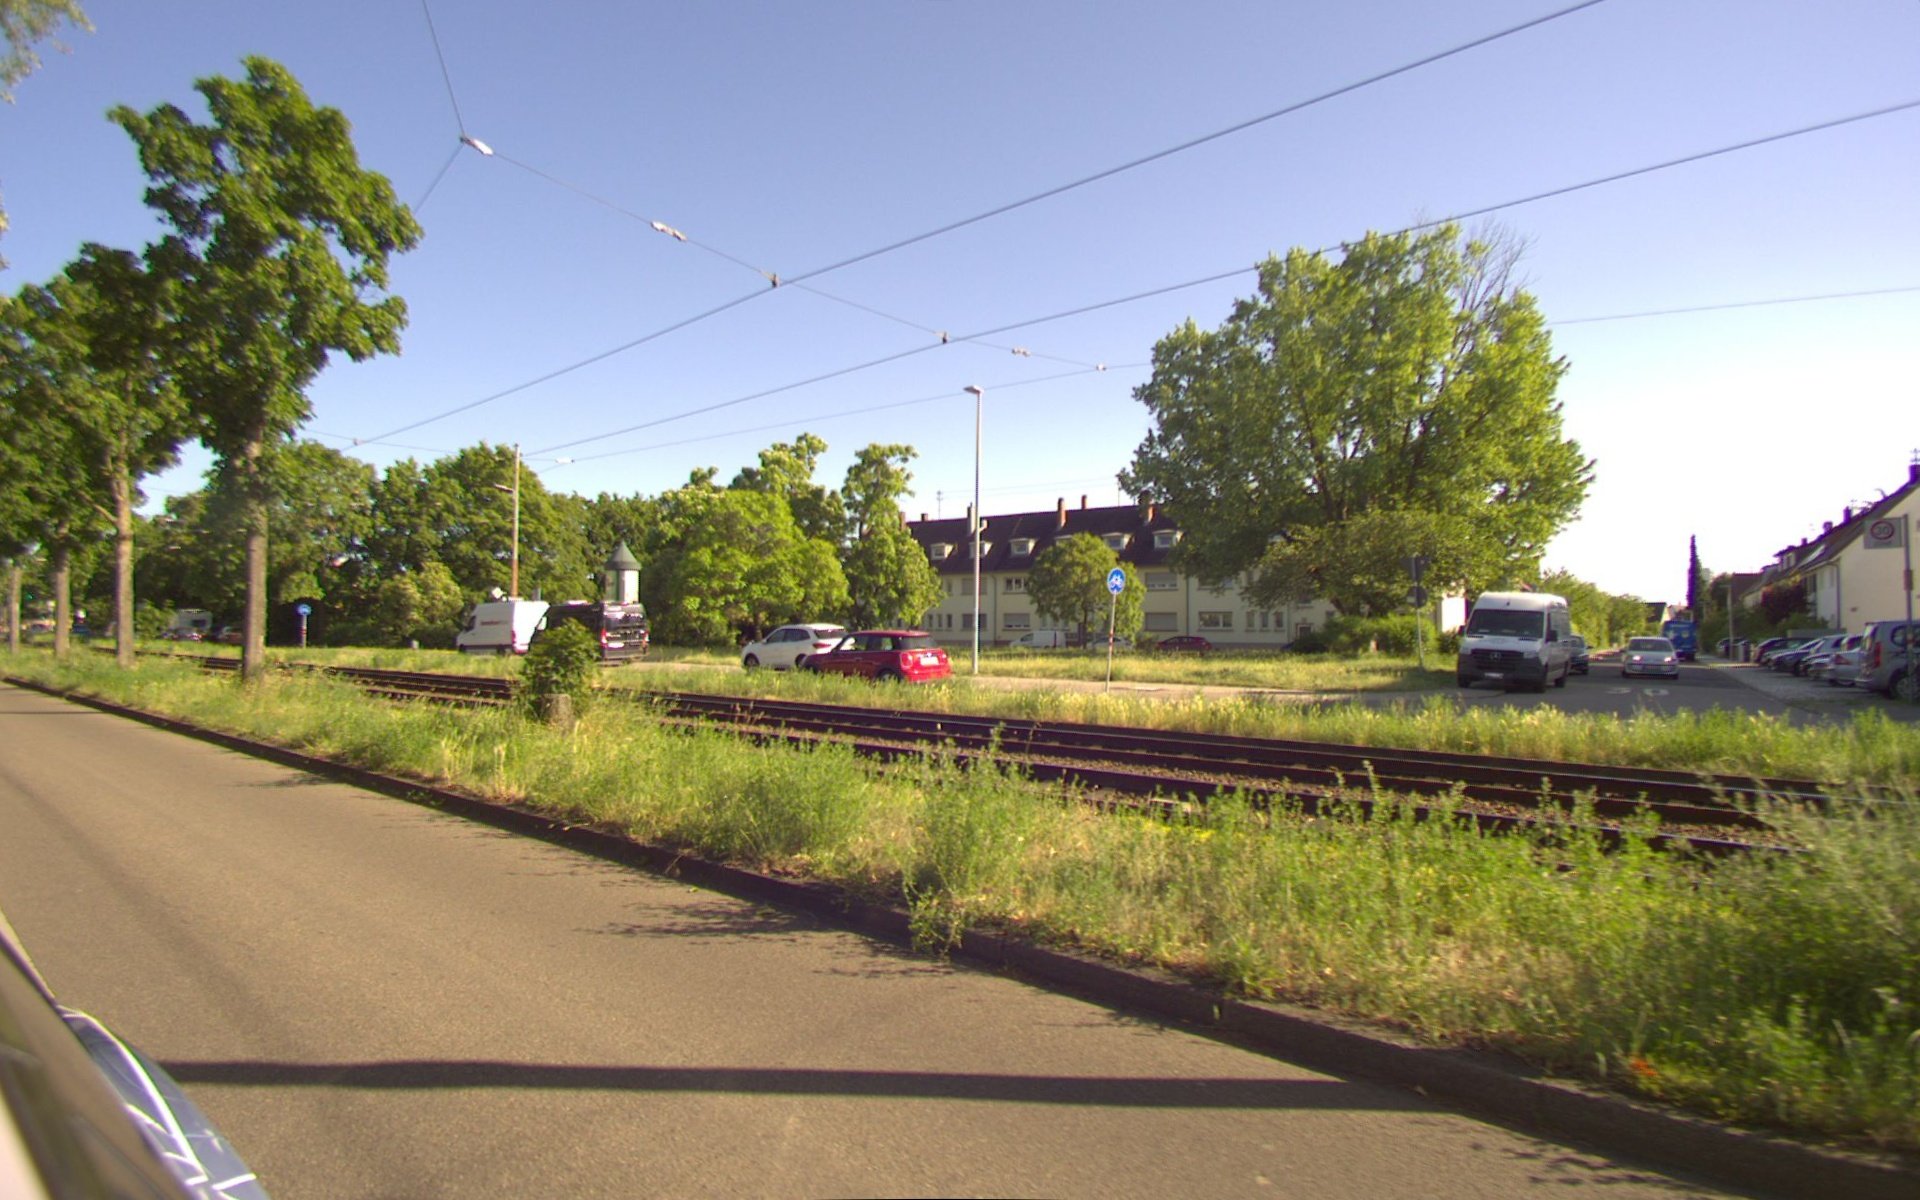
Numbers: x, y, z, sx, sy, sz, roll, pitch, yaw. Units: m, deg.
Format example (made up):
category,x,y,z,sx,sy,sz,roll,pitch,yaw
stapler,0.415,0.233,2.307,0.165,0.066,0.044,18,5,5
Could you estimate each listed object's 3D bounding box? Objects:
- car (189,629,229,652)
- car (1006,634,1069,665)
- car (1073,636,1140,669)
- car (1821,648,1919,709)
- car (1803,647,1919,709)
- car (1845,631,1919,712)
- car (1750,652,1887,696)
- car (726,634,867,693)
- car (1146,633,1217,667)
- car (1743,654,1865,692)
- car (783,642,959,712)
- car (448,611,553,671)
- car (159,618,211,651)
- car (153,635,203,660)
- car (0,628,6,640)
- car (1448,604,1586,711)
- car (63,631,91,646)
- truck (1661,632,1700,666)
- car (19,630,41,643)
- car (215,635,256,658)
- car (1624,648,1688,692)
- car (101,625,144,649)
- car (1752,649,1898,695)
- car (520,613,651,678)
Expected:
category,x,y,z,sx,sy,sz,roll,pitch,yaw
car,-58.578,3.135,78.897,4.530,1.635,1.605,-1,-1,41
car,5.417,3.476,71.186,3.988,2.029,1.978,-1,-1,33
car,9.834,3.489,67.915,3.992,2.029,1.975,-1,-1,36
car,24.361,1.964,25.643,3.621,1.503,1.780,-4,-4,34
car,26.439,2.201,28.766,3.621,1.603,1.780,-1,-1,34
car,21.732,1.528,21.542,4.087,1.683,1.781,-1,-1,33
car,31.241,2.661,36.956,3.623,1.476,1.515,-1,-3,35
car,-5.208,1.945,31.863,4.772,1.619,1.803,-1,-1,42
car,14.167,3.146,64.904,3.995,2.029,1.974,-1,-1,38
car,33.784,2.908,40.628,3.623,1.327,1.515,-1,-1,36
car,-2.060,1.668,22.834,3.998,1.420,1.659,-2,-3,41
car,-20.942,1.798,45.951,6.133,2.515,1.981,-1,-1,41
car,-64.245,2.888,83.871,6.795,2.600,2.202,-2,-1,41
car,-50.934,3.088,65.904,3.750,1.543,1.972,-2,-3,42
car,-133.129,4.671,139.654,4.441,1.539,1.708,-1,-1,42
car,15.283,1.414,27.508,2.326,2.526,7.001,-2,-1,36
car,-85.009,3.706,97.458,3.818,1.405,1.541,-1,-1,41
truck,47.567,3.199,66.828,1.996,2.105,4.079,-1,-1,35
car,-120.419,4.701,131.043,4.441,1.539,1.708,-1,-1,42
car,-53.204,3.387,74.270,4.248,1.596,1.656,-1,-1,43
car,25.207,2.486,36.620,1.747,1.489,3.581,-1,-3,36
car,-64.413,2.840,77.774,4.980,1.757,1.791,-1,-1,41
car,29.410,2.412,34.549,3.623,1.460,1.515,-1,-3,36
car,-15.074,1.731,40.507,6.462,2.394,2.160,-1,-1,41
